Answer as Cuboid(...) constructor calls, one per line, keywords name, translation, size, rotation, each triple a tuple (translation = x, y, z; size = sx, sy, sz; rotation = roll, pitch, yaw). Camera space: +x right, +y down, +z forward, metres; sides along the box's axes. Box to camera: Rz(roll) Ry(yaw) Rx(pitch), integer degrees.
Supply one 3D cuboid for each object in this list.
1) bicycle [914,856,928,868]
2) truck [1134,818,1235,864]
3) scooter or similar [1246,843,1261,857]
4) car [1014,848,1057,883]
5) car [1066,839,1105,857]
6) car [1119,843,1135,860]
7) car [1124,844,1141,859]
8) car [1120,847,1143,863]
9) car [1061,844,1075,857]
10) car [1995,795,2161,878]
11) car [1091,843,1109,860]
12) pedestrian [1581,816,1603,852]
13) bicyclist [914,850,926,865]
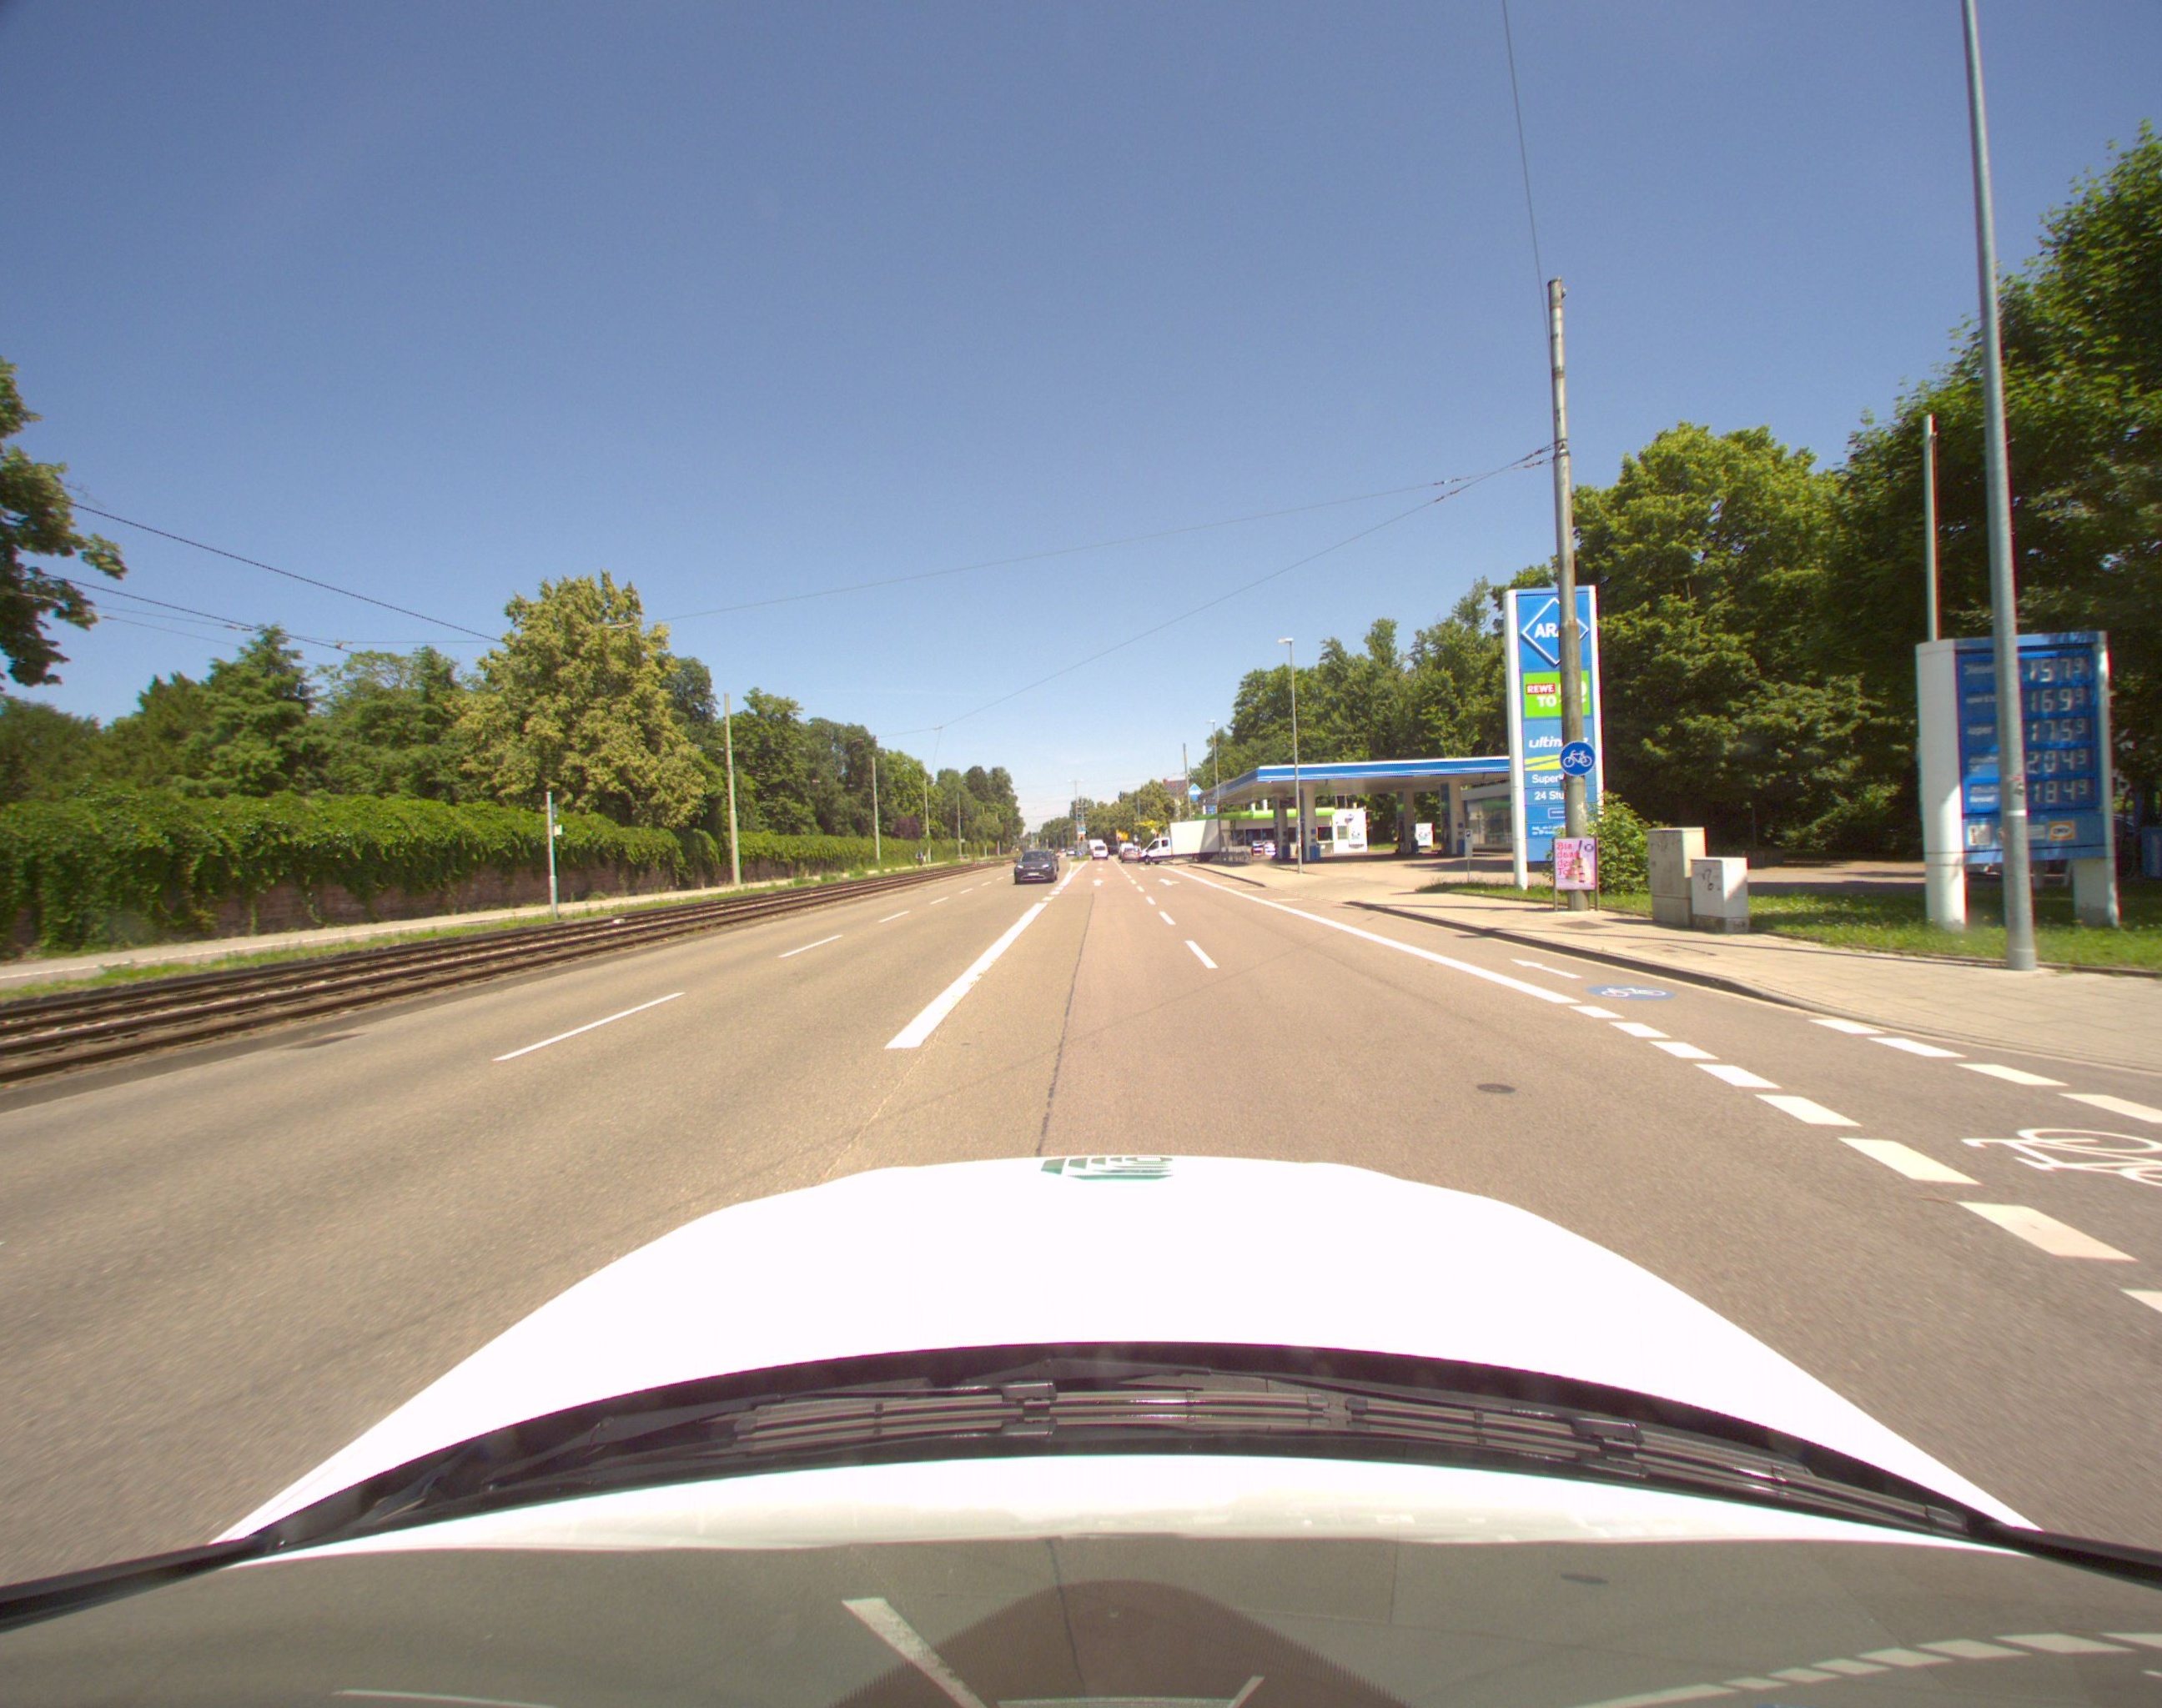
Cuboid(name="bicycle", translation=(-16.547, 0.769, 84.102), size=(0.825, 1.156, 2.686), rotation=(-2, 0, 1))
Cuboid(name="truck", translation=(8.510, -1.045, 67.317), size=(7.733, 3.391, 2.443), rotation=(-2, 0, 28))
Cuboid(name="scooter or similar", translation=(14.715, -0.356, 69.366), size=(1.131, 1.176, 0.384), rotation=(-2, 0, 1))
Cuboid(name="car", translation=(-2.016, 0.489, 37.171), size=(1.708, 1.422, 4.140), rotation=(-2, 0, -1))
Cuboid(name="car", translation=(0.674, -0.960, 126.829), size=(2.719, 2.516, 6.147), rotation=(-3, 1, -41))
Cuboid(name="car", translation=(5.232, -0.320, 92.807), size=(1.704, 1.830, 4.015), rotation=(-2, 0, 2))
Cuboid(name="car", translation=(5.280, -0.274, 83.939), size=(1.601, 1.451, 3.523), rotation=(-2, 1, 2))
Cuboid(name="car", translation=(4.749, 0.045, 77.021), size=(1.765, 1.420, 3.999), rotation=(-2, 1, -1))
Cuboid(name="car", translation=(-2.216, -0.621, 139.097), size=(1.991, 2.013, 3.992), rotation=(-2, 1, -6))
Cuboid(name="car", translation=(22.731, -0.390, 17.260), size=(1.983, 1.662, 4.418), rotation=(-2, -1, 6))
Cuboid(name="car", translation=(2.114, -0.302, 91.744), size=(1.860, 1.836, 3.849), rotation=(-1, 0, 0))
Cuboid(name="pedestrian", translation=(27.206, -1.050, 43.381), size=(0.622, 1.888, 0.837), rotation=(-2, 1, 1))
Cuboid(name="bicyclist", translation=(-16.563, 0.345, 83.933), size=(0.991, 1.486, 1.000), rotation=(-2, 0, 0))
